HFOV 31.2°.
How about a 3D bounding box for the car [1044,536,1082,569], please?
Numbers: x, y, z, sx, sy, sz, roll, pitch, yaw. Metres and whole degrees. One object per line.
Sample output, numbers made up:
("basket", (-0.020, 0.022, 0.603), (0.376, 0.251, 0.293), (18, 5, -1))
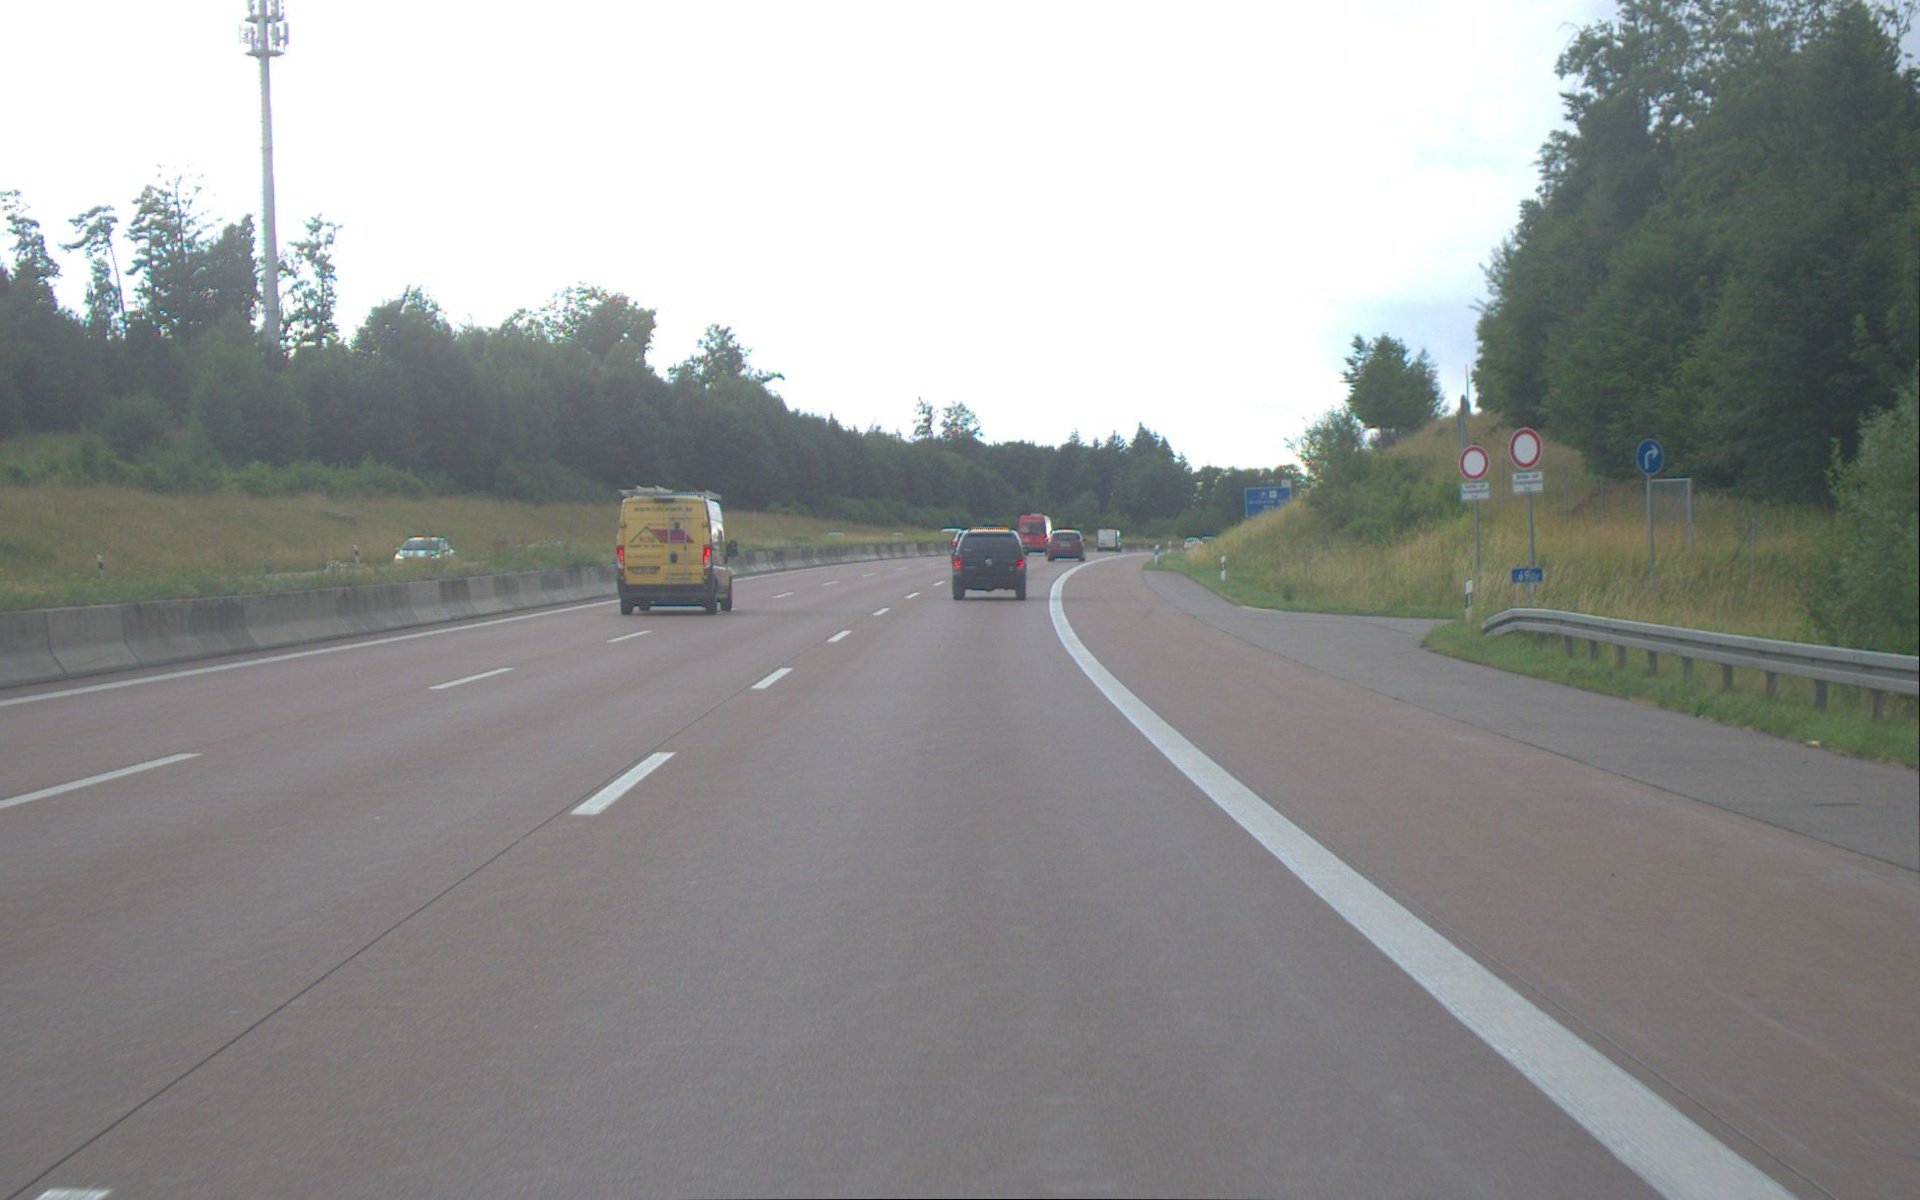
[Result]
("car", (5.426, -2.504, 181.400), (1.978, 1.642, 4.619), (-1, 0, 2))

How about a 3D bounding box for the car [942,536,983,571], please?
("car", (0.135, -2.276, 169.589), (1.977, 1.642, 4.619), (-1, 0, 1))

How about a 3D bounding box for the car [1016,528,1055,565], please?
("car", (4.995, -3.543, 226.973), (2.241, 2.422, 6.204), (1, 1, 4))

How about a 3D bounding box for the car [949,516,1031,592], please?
("car", (0.750, -1.168, 90.205), (2.044, 1.890, 5.577), (-1, 0, 0))

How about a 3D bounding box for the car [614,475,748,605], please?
("car", (-6.023, -1.251, 74.823), (2.458, 2.697, 5.613), (-1, 0, 0))

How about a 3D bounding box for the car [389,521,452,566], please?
("car", (-19.998, -2.078, 127.566), (1.670, 1.520, 4.826), (1, -1, -1))
